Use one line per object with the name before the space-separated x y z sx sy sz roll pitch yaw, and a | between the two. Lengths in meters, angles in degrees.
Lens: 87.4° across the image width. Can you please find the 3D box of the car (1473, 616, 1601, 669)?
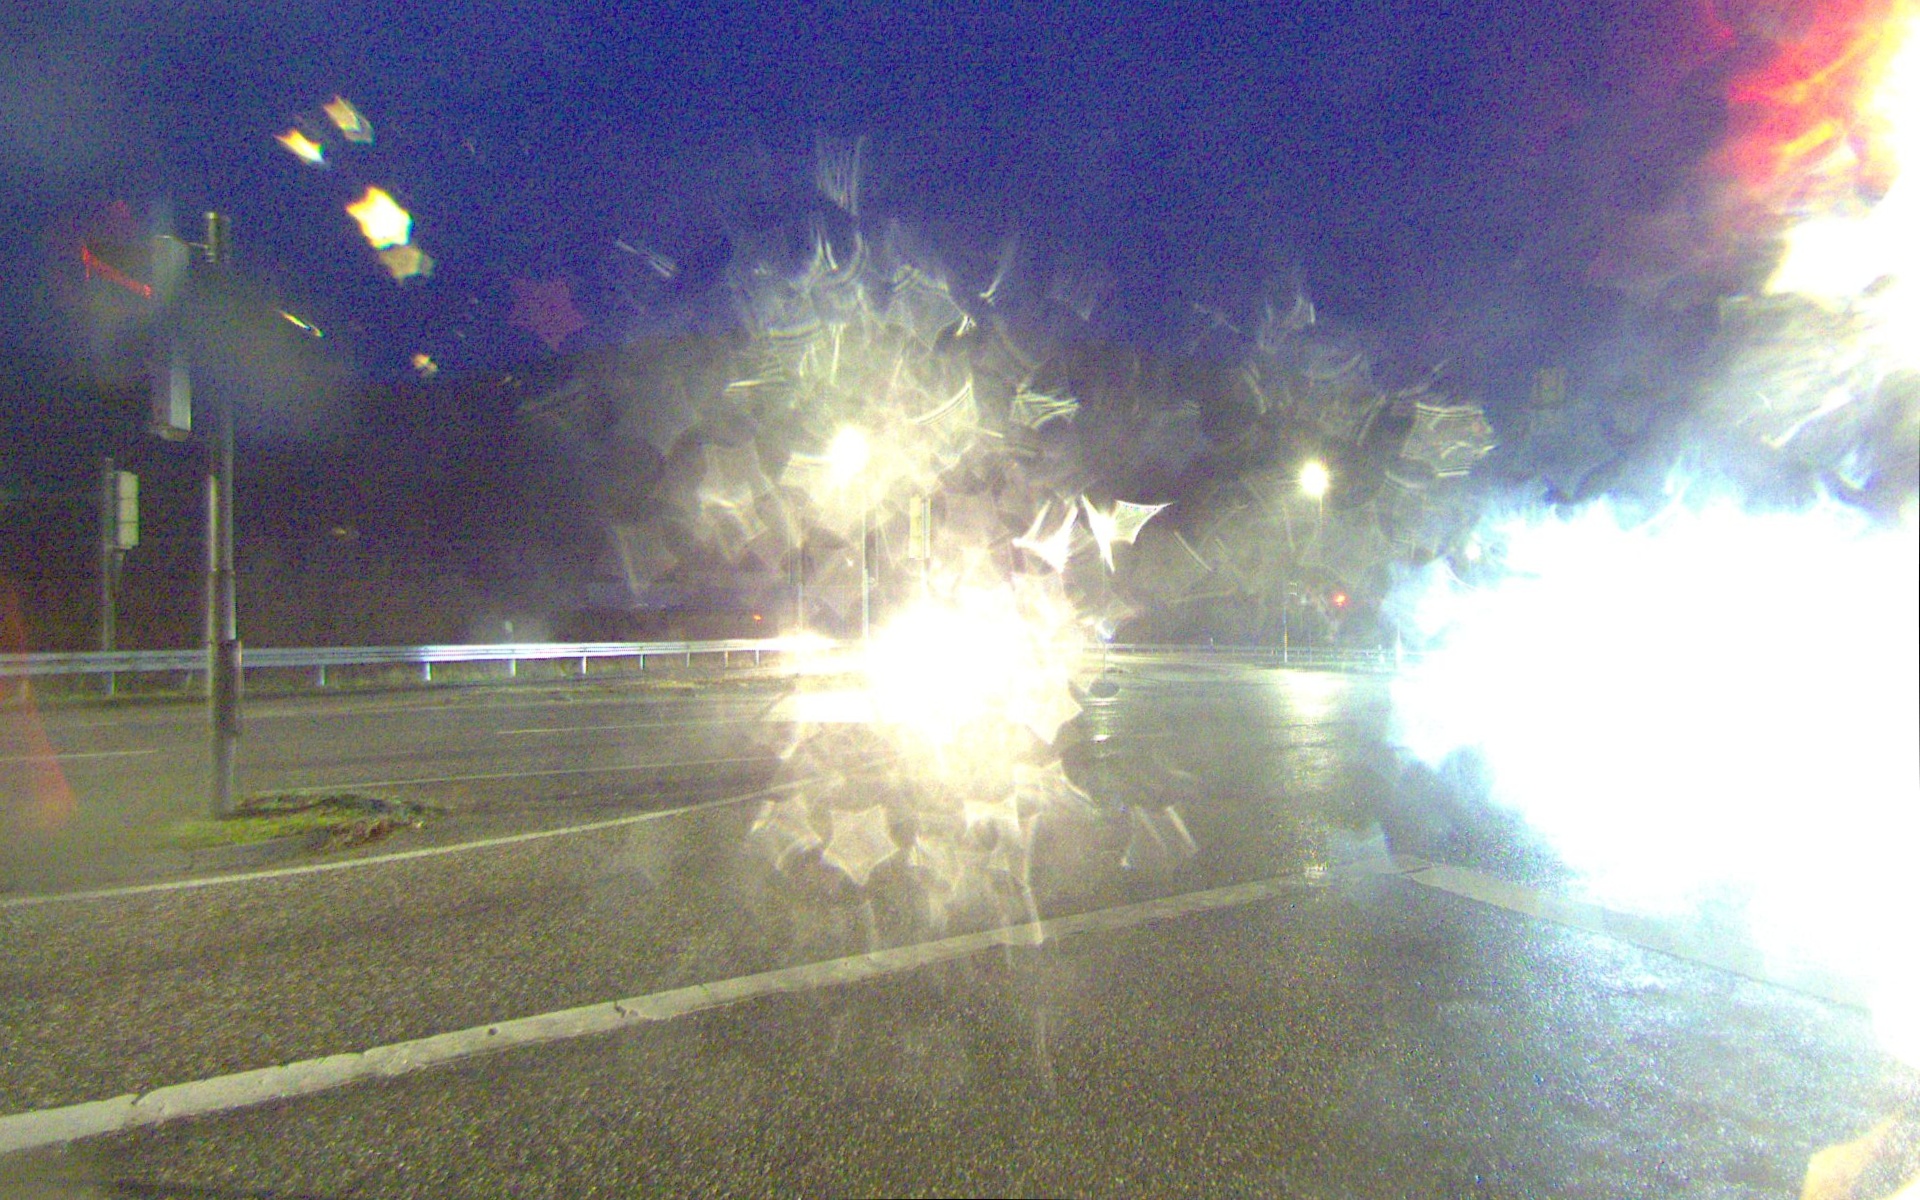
car | 21.112 1.538 36.927 3.924 1.856 1.720 0 -1 24

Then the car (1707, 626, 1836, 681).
car | 23.507 1.539 29.085 3.683 1.473 1.660 2 -1 -29

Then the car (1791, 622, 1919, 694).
car | 22.227 1.358 24.272 4.653 1.592 1.692 1 -1 -28

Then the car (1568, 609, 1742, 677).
car | 17.862 1.071 25.752 4.855 1.592 1.784 1 -1 -30

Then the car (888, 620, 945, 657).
car | -1.859 1.733 44.374 1.625 1.518 4.379 -1 -3 9
